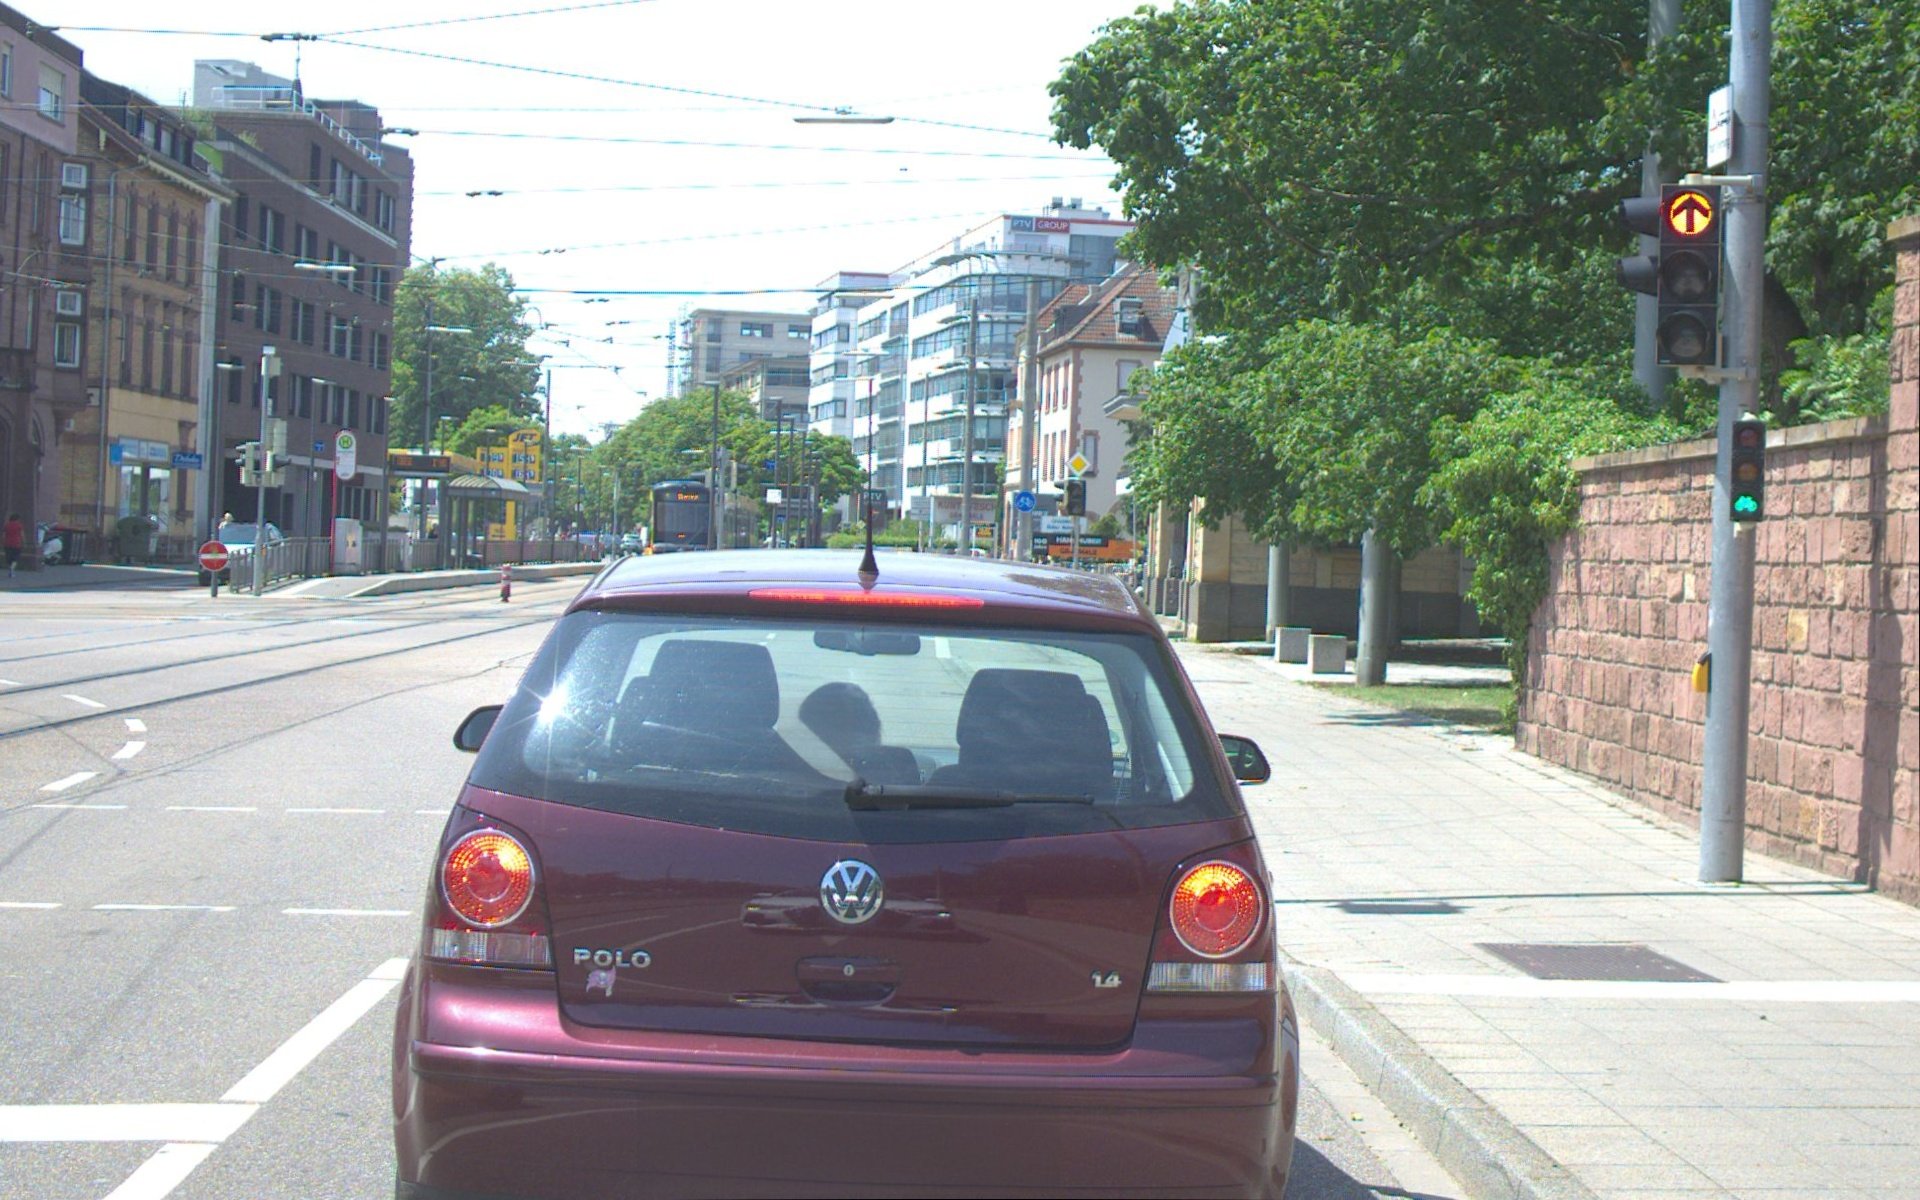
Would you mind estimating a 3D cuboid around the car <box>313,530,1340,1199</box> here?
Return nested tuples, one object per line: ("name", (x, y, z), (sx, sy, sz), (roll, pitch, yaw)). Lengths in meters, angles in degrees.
("car", (-0.286, 0.611, 7.571), (1.610, 1.458, 4.086), (2, 1, -2))

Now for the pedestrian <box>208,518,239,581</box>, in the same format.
("pedestrian", (-21.049, -1.446, 98.277), (0.662, 1.781, 0.815), (2, 1, -1))

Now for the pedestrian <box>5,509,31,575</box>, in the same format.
("pedestrian", (-22.202, -1.361, 81.033), (0.483, 1.535, 0.538), (1, 0, -4))

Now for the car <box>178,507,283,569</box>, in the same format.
("car", (-18.188, -1.556, 85.881), (1.689, 1.457, 4.000), (2, 1, 1))

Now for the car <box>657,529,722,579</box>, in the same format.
("car", (-9.149, -1.547, 116.531), (1.938, 1.635, 4.000), (1, 0, -1))

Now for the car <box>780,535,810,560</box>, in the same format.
("car", (-9.378, -2.980, 195.425), (1.572, 1.411, 3.720), (0, 1, -1))

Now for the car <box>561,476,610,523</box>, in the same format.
("car", (-16.753, -4.476, 153.723), (1.735, 2.007, 4.000), (2, 1, -1))
